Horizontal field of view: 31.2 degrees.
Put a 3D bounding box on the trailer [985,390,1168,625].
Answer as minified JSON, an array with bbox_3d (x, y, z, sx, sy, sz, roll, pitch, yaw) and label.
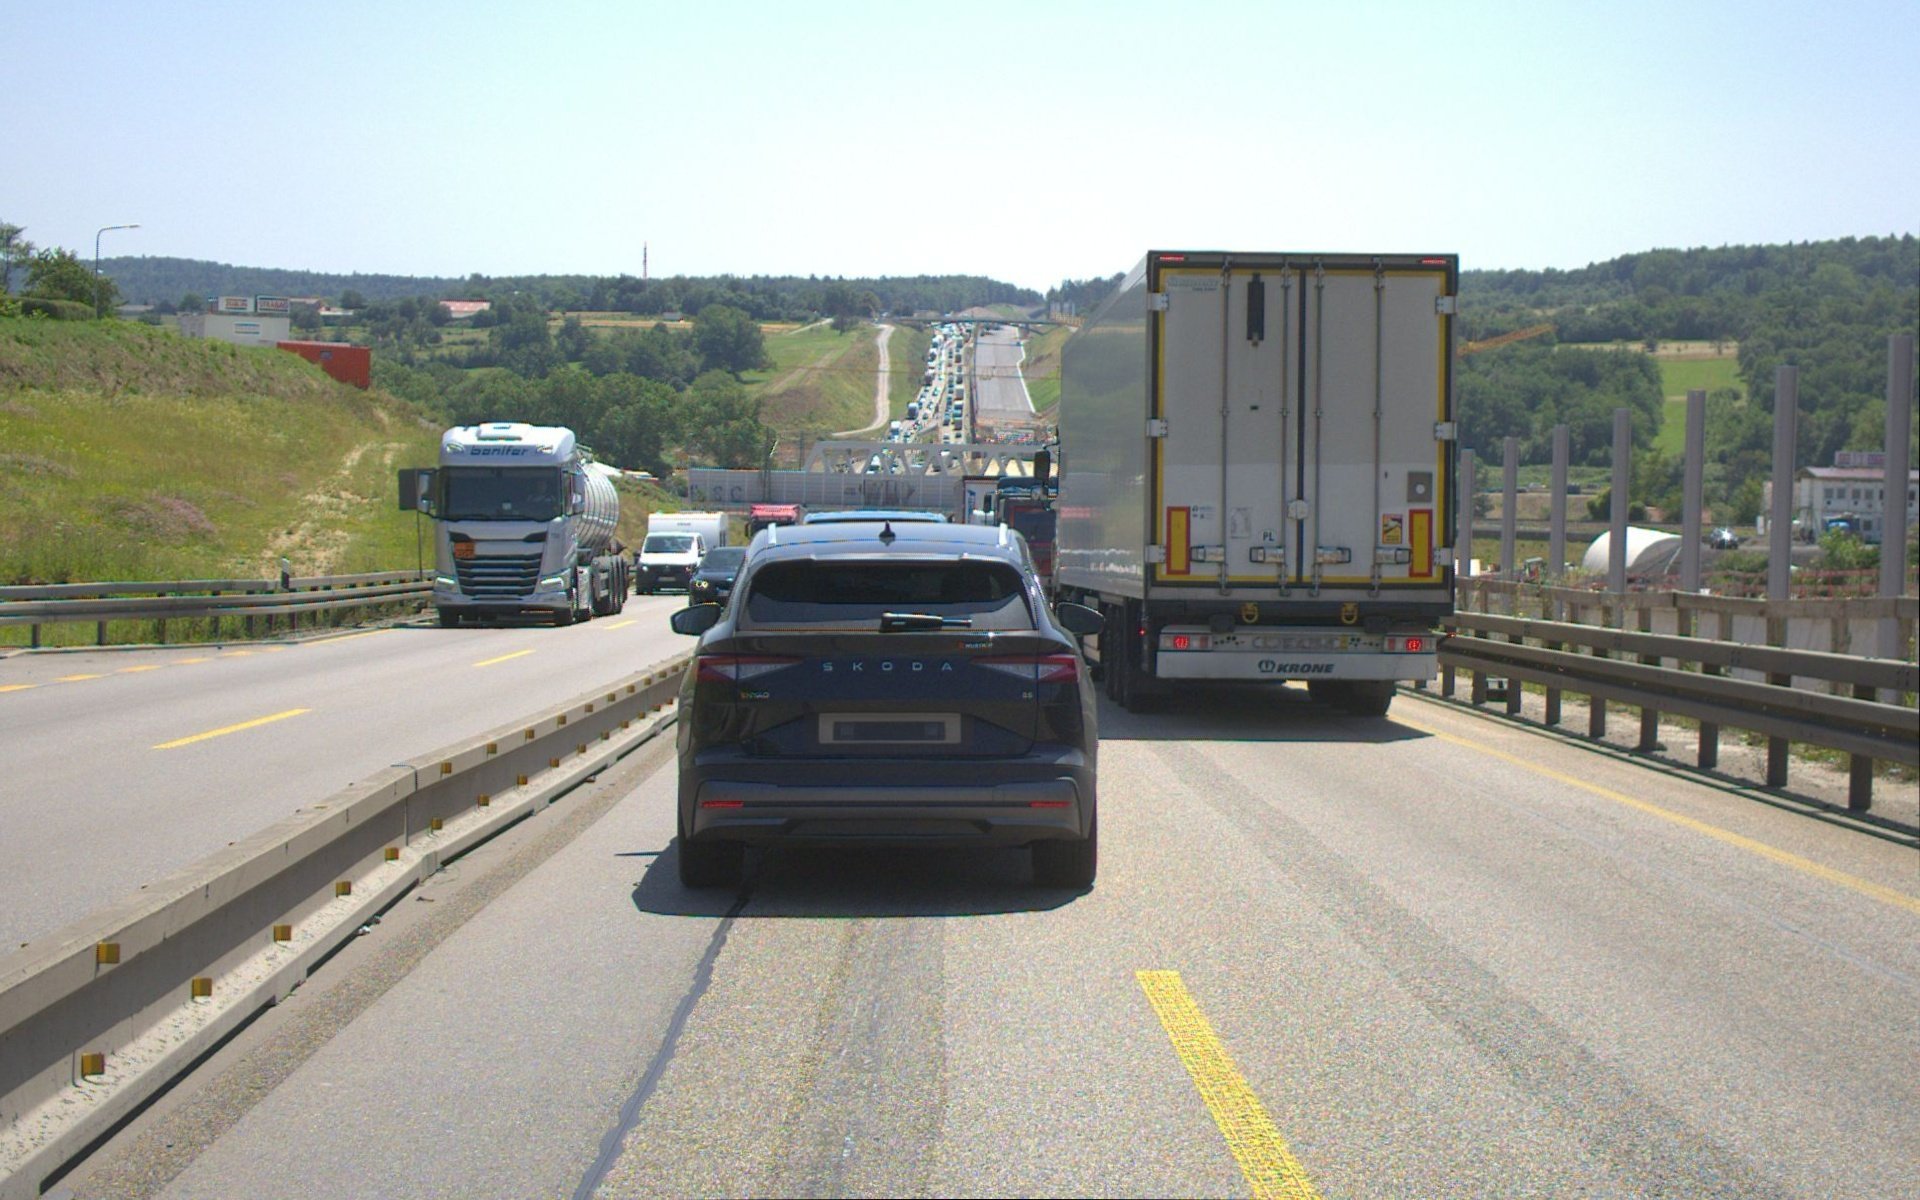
[{"bbox_3d":[2.303,-1.765,73.848,3.180,4.498,14.967,1,0,-1],"label":"trailer"}]

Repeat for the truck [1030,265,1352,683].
[{"bbox_3d":[2.590,-1.454,41.395,3.180,4.497,8.166,1,1,-1],"label":"truck"}]

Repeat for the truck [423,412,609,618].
[{"bbox_3d":[-8.273,-1.573,64.682,2.779,3.660,6.278,1,1,-1],"label":"truck"}]

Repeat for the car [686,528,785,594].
[{"bbox_3d":[-4.972,-0.889,76.652,1.895,1.409,4.679,0,1,0],"label":"car"}]

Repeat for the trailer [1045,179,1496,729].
[{"bbox_3d":[2.722,-1.344,34.903,3.180,4.497,13.109,1,1,-1],"label":"trailer"}]

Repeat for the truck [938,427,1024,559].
[{"bbox_3d":[0.704,-3.856,127.551,2.852,4.450,11.918,1,0,-1],"label":"truck"}]

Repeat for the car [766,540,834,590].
[{"bbox_3d":[-4.850,-1.091,104.816,1.912,1.475,4.637,0,1,-1],"label":"car"}]

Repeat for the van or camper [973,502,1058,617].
[{"bbox_3d":[1.670,-1.156,101.666,2.389,3.269,6.468,0,0,1],"label":"van or camper"}]

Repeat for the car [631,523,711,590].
[{"bbox_3d":[-8.647,-1.321,103.135,1.993,1.964,5.343,0,1,0],"label":"car"}]

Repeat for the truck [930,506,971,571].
[{"bbox_3d":[-0.673,-4.084,231.519,2.640,4.179,9.284,1,0,-1],"label":"truck"}]

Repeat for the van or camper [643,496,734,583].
[{"bbox_3d":[-8.608,-1.940,109.731,2.357,2.667,7.858,0,1,-1],"label":"van or camper"}]

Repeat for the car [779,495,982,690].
[{"bbox_3d":[-0.825,-0.065,36.360,1.993,1.919,4.508,1,0,-1],"label":"car"}]

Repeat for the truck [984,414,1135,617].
[{"bbox_3d":[2.251,-1.871,80.956,3.180,4.498,8.165,1,0,-1],"label":"truck"}]

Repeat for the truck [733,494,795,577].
[{"bbox_3d":[-10.479,-3.390,184.824,2.852,4.125,11.918,1,0,-1],"label":"truck"}]

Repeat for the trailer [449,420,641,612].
[{"bbox_3d":[-8.371,-1.693,70.739,2.716,3.581,11.796,1,1,-1],"label":"trailer"}]

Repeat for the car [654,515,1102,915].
[{"bbox_3d":[-0.332,0.454,15.942,1.802,1.602,4.000,1,0,0],"label":"car"}]
